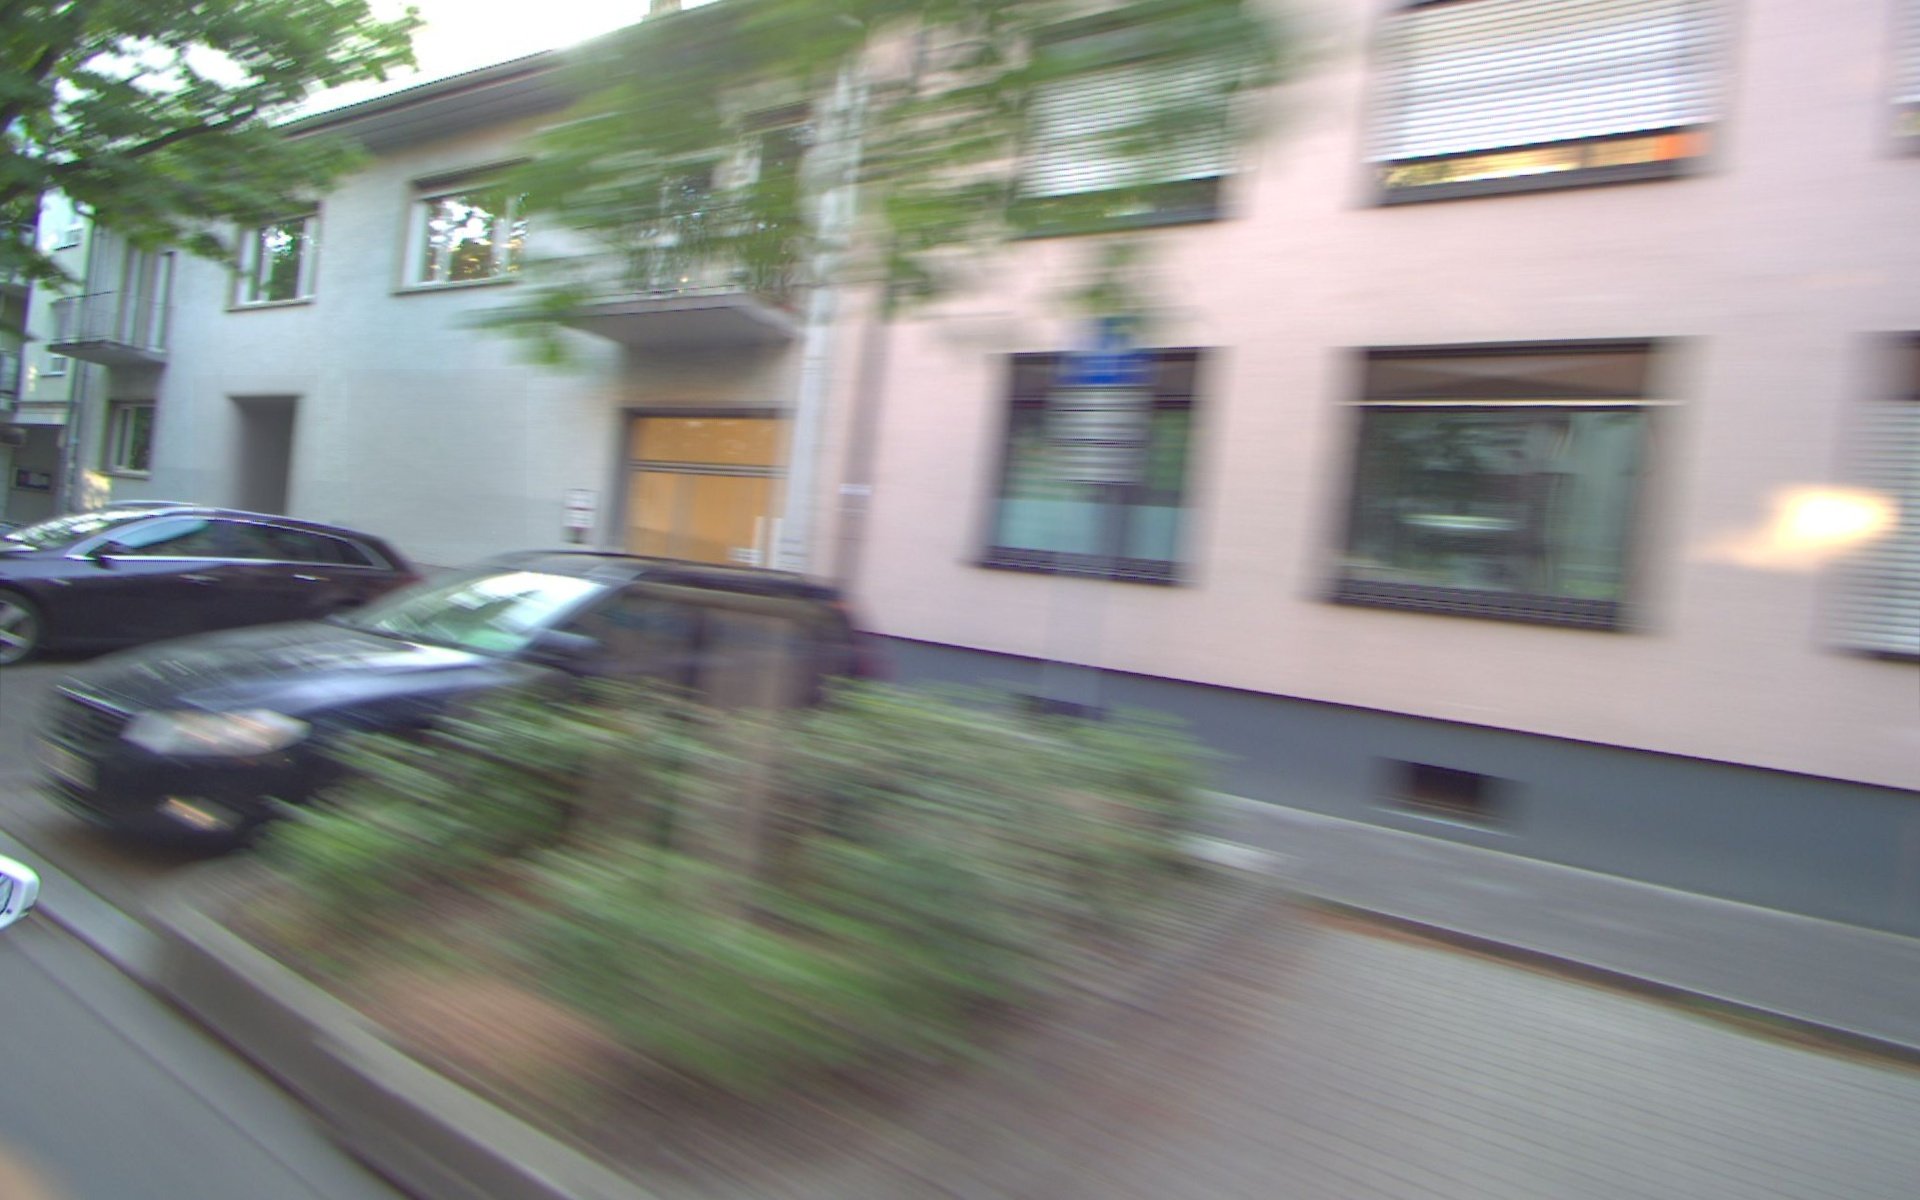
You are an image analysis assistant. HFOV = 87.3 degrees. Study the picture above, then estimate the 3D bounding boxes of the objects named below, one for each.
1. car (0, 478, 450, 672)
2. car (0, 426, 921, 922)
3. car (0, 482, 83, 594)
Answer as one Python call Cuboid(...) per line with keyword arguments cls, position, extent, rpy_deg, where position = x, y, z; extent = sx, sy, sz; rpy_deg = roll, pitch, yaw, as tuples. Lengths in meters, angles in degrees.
Cuboid(cls="car", position=(-7.714, -0.213, 9.594), extent=(1.930, 1.540, 4.686), rpy_deg=(7, 0, 31))
Cuboid(cls="car", position=(-2.460, 0.393, 6.070), extent=(1.918, 1.730, 4.724), rpy_deg=(8, -1, 33))
Cuboid(cls="car", position=(-15.329, -1.096, 13.855), extent=(1.964, 1.540, 4.508), rpy_deg=(7, 1, 35))
